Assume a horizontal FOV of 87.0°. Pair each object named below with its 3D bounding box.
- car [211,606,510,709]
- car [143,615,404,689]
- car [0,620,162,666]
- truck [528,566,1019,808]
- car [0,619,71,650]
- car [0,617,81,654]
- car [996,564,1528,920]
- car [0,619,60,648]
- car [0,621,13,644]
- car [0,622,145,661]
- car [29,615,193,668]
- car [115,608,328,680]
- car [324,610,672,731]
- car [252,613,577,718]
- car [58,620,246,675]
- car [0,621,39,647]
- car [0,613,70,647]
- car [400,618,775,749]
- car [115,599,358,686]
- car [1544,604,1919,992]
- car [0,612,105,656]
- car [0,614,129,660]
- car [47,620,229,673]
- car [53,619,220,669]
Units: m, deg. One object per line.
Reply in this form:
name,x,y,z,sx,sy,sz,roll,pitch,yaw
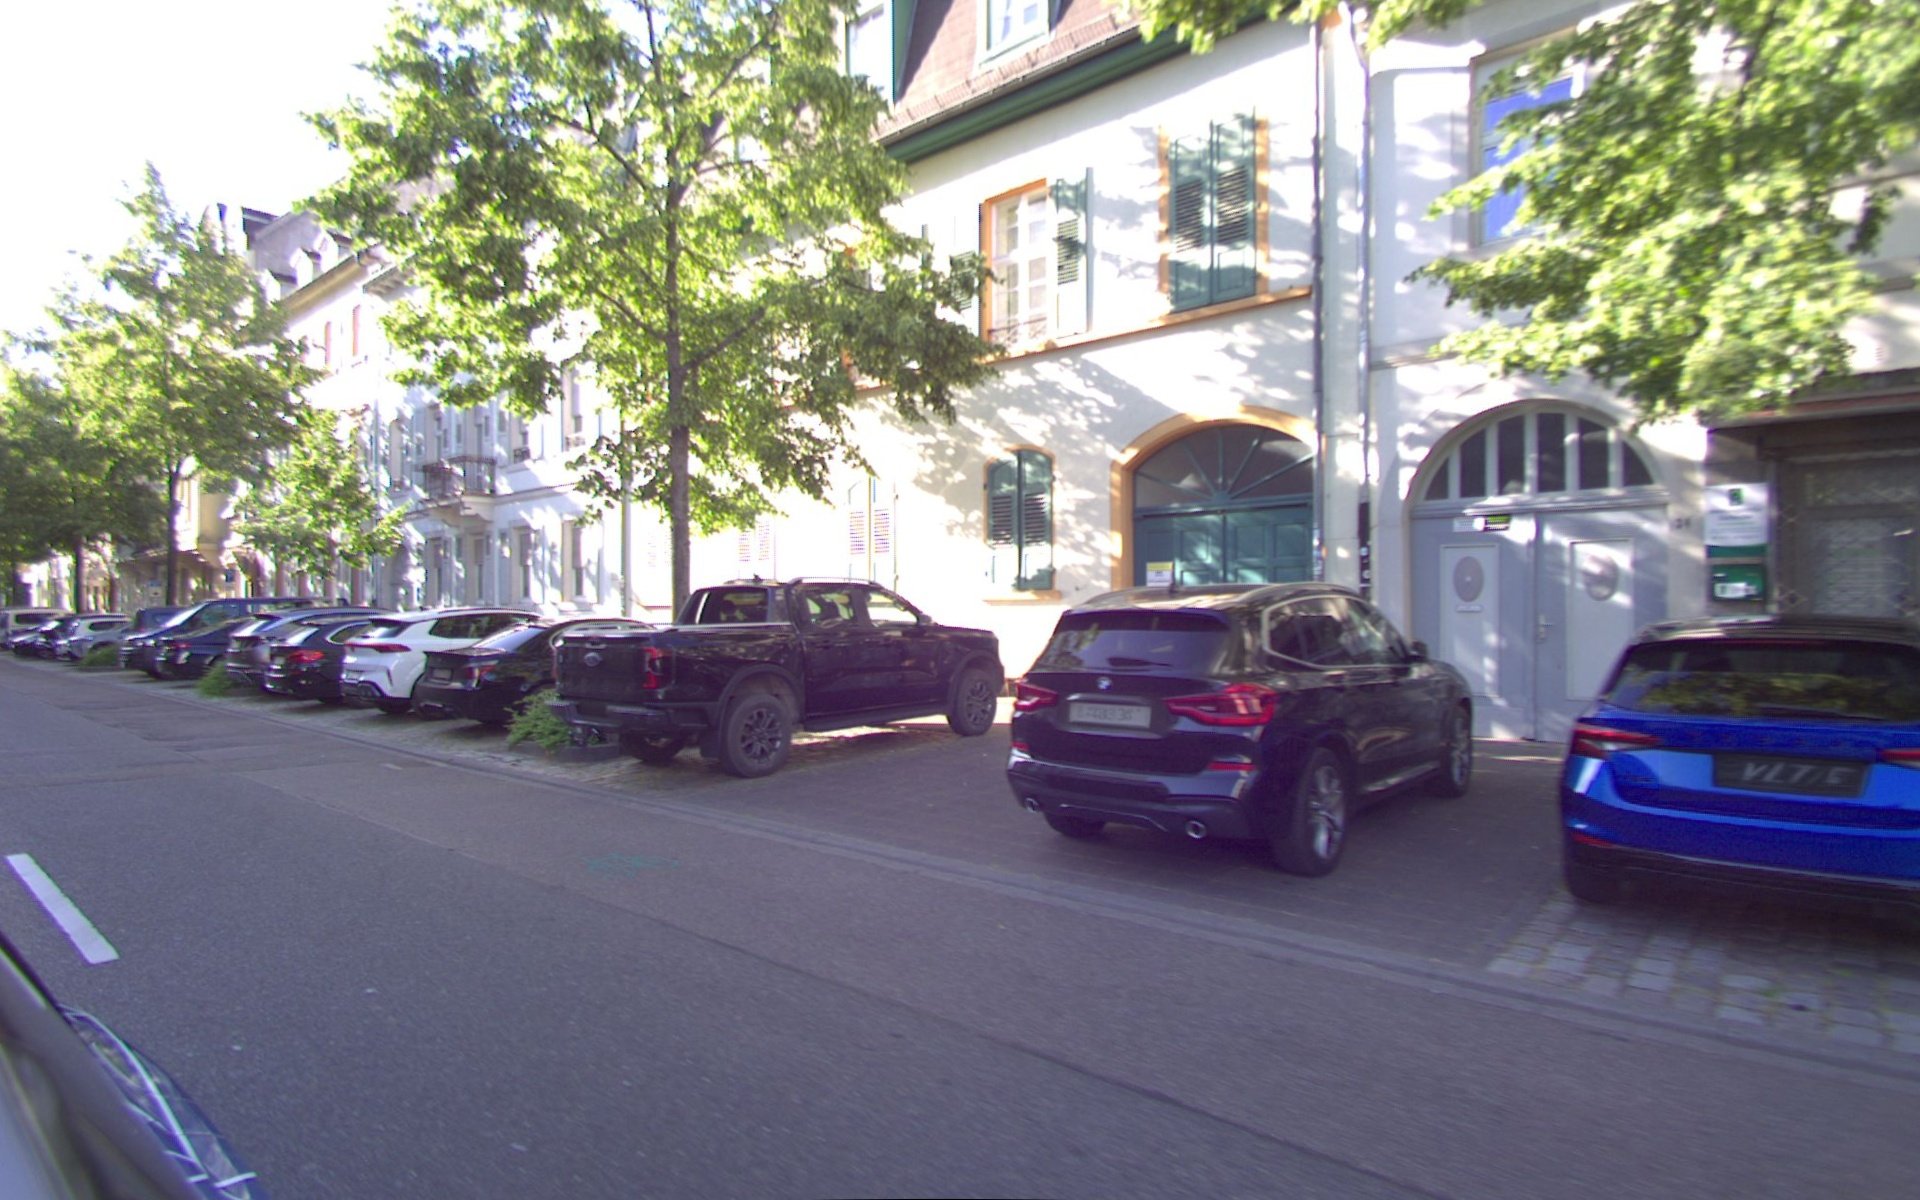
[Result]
car,-11.318,0.985,19.387,1.808,1.725,4.630,-1,-1,42
car,-15.316,1.091,22.807,1.682,1.470,4.598,-1,-1,40
car,-32.733,1.559,37.753,1.916,1.552,4.417,-1,-1,43
truck,-1.666,0.770,10.764,1.999,1.953,5.033,-1,-2,40
car,-50.215,1.806,53.624,1.909,1.556,4.309,-1,-1,30
car,-46.467,1.722,50.044,1.914,1.746,4.297,-1,-1,39
car,2.433,0.698,7.195,1.808,1.706,4.630,-1,-1,42
car,-53.747,1.889,56.924,1.956,1.556,4.310,-1,-1,29
car,-68.512,2.296,70.009,1.944,1.556,4.292,-1,-1,43
car,-36.377,1.673,41.503,1.914,1.450,4.297,-1,-1,39
car,-30.489,1.436,36.452,1.915,1.722,4.294,-1,-1,41
car,-20.018,1.127,27.582,1.916,1.785,4.418,-1,-1,42
car,-7.042,0.976,15.838,1.808,1.584,4.630,-1,-1,42
car,-9.255,1.013,17.489,1.808,1.531,4.630,-1,-1,42
car,-25.186,1.425,31.651,1.917,1.552,4.416,-1,-1,44
car,-59.164,2.104,61.339,1.996,1.503,4.657,0,1,36
car,-51.886,1.627,55.469,1.922,1.838,4.309,-1,-1,30
car,-5.006,1.016,14.146,1.808,1.474,4.630,-1,-1,42
car,-17.857,0.967,25.165,1.916,1.965,4.630,-1,-1,42
car,4.950,0.766,5.833,1.808,1.474,4.630,-1,-1,42
car,-42.534,1.529,46.730,1.930,1.941,4.523,-1,-1,43
car,-38.639,1.538,43.390,1.909,1.848,4.308,-1,-1,31
car,-27.086,1.472,33.466,1.915,1.552,4.421,-1,-1,40
car,-28.722,1.482,35.412,1.808,1.594,4.294,-1,-1,41
